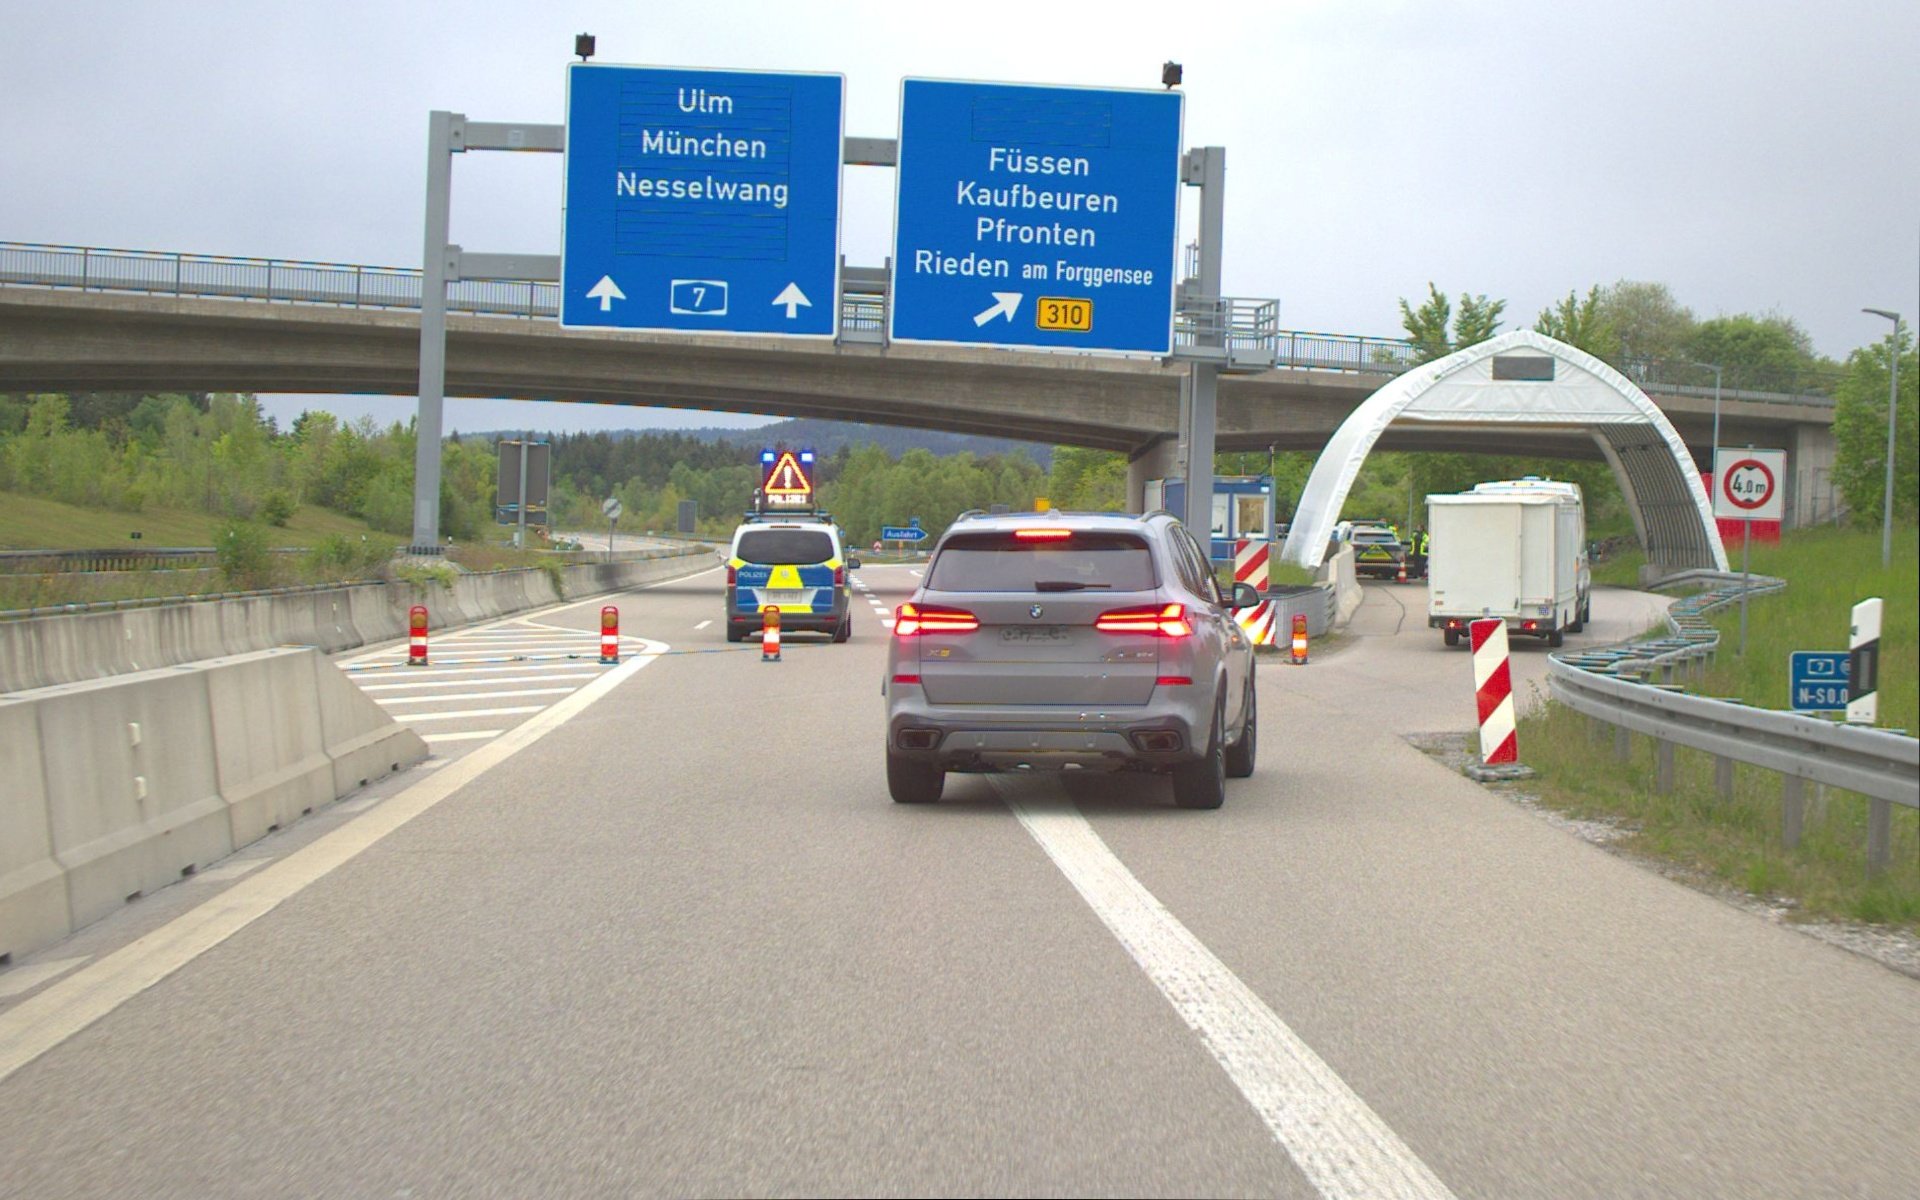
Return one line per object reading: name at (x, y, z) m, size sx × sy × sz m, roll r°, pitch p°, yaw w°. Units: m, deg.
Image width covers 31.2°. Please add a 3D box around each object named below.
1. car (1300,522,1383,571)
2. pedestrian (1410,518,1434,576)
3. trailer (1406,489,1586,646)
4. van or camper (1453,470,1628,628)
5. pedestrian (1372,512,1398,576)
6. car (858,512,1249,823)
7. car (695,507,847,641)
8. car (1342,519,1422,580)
car at (15.824, -2.217, 142.849) m, size 1.993 × 2.007 × 4.001 m, roll 0°, pitch 1°, yaw -17°
pedestrian at (14.032, -1.608, 104.421) m, size 0.648 × 1.769 × 0.606 m, roll 0°, pitch 1°, yaw 1°
trailer at (8.945, -0.532, 56.873) m, size 2.280 × 2.422 × 6.813 m, roll 1°, pitch 1°, yaw 14°
van or camper at (10.699, -0.914, 62.991) m, size 2.159 × 2.754 × 5.865 m, roll 1°, pitch 1°, yaw 20°
pedestrian at (12.911, -1.712, 104.459) m, size 0.720 × 1.939 × 0.690 m, roll 0°, pitch 1°, yaw 3°
car at (0.686, 0.342, 21.304) m, size 1.994 × 1.713 × 3.999 m, roll 1°, pitch 1°, yaw 8°
car at (-3.033, -0.471, 55.029) m, size 2.286 × 2.006 × 5.051 m, roll 1°, pitch 2°, yaw -3°
car at (12.332, -1.492, 100.651) m, size 1.993 × 1.766 × 3.765 m, roll 0°, pitch 1°, yaw 2°
